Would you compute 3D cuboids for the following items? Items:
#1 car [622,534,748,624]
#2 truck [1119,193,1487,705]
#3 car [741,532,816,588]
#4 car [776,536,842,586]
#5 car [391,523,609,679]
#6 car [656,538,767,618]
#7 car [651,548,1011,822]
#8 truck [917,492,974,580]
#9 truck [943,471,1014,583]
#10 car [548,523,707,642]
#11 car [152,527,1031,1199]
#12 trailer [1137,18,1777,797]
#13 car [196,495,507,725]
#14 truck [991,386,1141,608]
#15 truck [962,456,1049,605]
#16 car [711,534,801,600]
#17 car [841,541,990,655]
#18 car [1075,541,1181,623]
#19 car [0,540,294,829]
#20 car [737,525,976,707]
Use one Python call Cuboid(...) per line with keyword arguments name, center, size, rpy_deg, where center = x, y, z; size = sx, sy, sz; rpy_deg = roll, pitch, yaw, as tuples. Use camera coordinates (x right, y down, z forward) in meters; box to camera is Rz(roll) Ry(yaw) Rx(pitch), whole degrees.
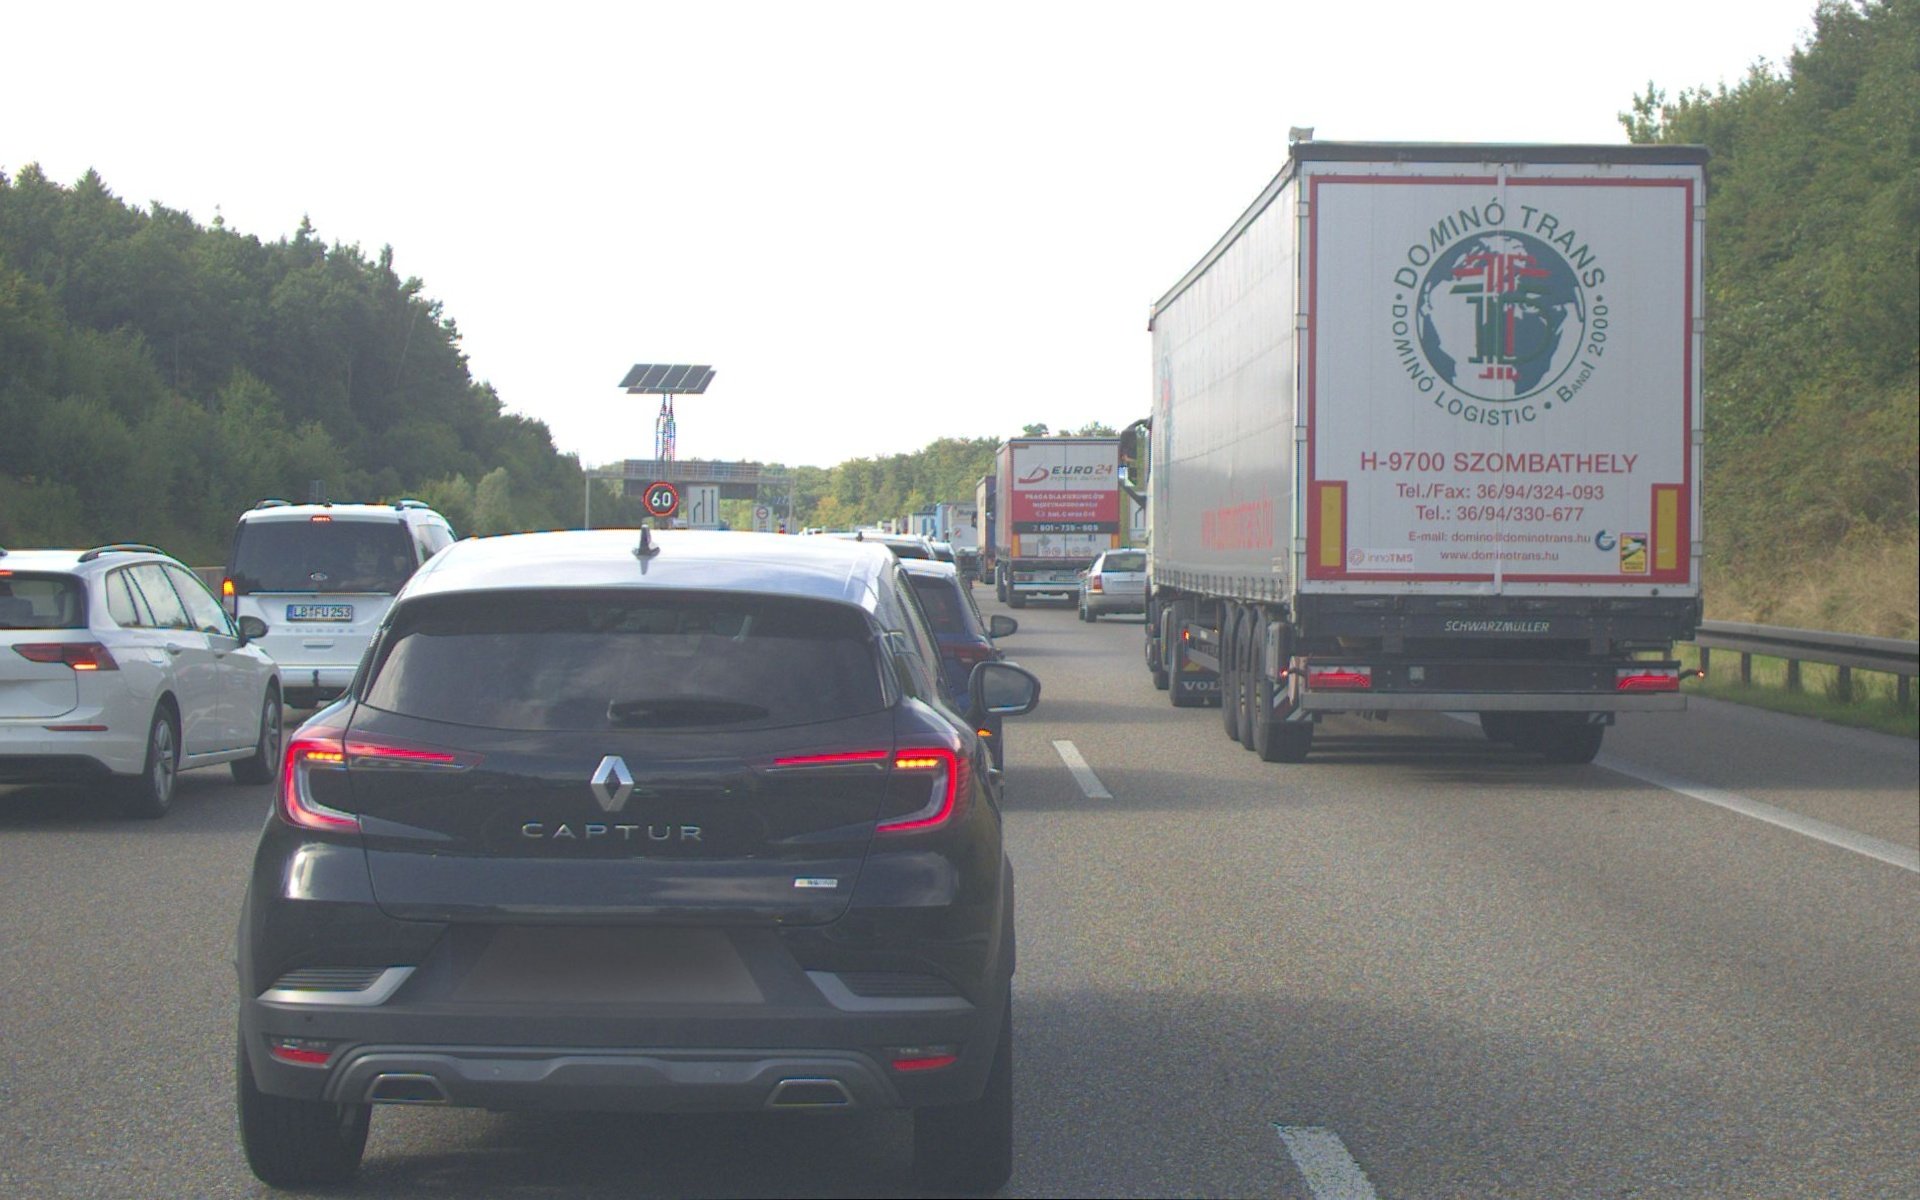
Cuboid(name="car", center=(-5.132, -0.397, 64.626), size=(1.993, 1.607, 4.000), rpy_deg=(1, 1, 0))
Cuboid(name="truck", center=(3.267, -1.434, 34.375), size=(2.997, 4.651, 5.940), rpy_deg=(0, 1, 0))
Cuboid(name="car", center=(-5.380, -1.203, 102.297), size=(1.993, 1.607, 4.000), rpy_deg=(1, 1, 0))
Cuboid(name="car", center=(-5.022, -1.316, 114.825), size=(1.993, 1.607, 4.000), rpy_deg=(1, 1, 0))
Cuboid(name="car", center=(-5.109, -0.005, 38.638), size=(1.855, 1.635, 3.925), rpy_deg=(1, 1, 1))
Cuboid(name="car", center=(-5.185, -0.468, 72.138), size=(1.993, 1.607, 4.000), rpy_deg=(1, 1, 0))
Cuboid(name="car", center=(-0.711, 0.457, 21.230), size=(1.993, 1.509, 4.000), rpy_deg=(1, 1, 0))
Cuboid(name="truck", center=(-0.846, -3.821, 208.822), size=(3.166, 5.142, 12.737), rpy_deg=(1, 1, 1))
Cuboid(name="truck", center=(1.002, -3.676, 176.127), size=(3.167, 5.486, 12.736), rpy_deg=(1, 1, 2))
Cuboid(name="car", center=(-5.028, -0.281, 52.423), size=(1.993, 1.716, 4.000), rpy_deg=(1, 1, 0))
Cuboid(name="car", center=(-0.749, 0.593, 9.315), size=(1.805, 1.547, 4.000), rpy_deg=(0, 1, 2))
Cuboid(name="trailer", center=(3.324, -1.277, 27.301), size=(3.002, 4.645, 13.291), rpy_deg=(1, 1, 0))
Cuboid(name="car", center=(-5.073, 0.060, 29.237), size=(1.911, 1.783, 4.418), rpy_deg=(1, 1, -1))
Cuboid(name="truck", center=(2.486, -2.419, 84.872), size=(3.365, 5.027, 12.737), rpy_deg=(1, 1, 1))
Cuboid(name="truck", center=(1.749, -2.644, 133.889), size=(3.166, 5.486, 12.737), rpy_deg=(1, 1, 1))
Cuboid(name="car", center=(-5.121, -0.841, 86.635), size=(1.993, 1.607, 4.000), rpy_deg=(1, 1, 0))
Cuboid(name="car", center=(-0.588, -0.041, 48.277), size=(1.993, 1.509, 4.000), rpy_deg=(1, 1, 0))
Cuboid(name="car", center=(3.279, -0.362, 67.718), size=(1.804, 1.527, 3.926), rpy_deg=(1, 1, -1))
Cuboid(name="car", center=(-5.141, 0.400, 19.524), size=(1.804, 1.456, 4.308), rpy_deg=(0, 1, 1))
Cuboid(name="car", center=(-0.867, 0.116, 31.104), size=(1.993, 1.509, 4.000), rpy_deg=(1, 1, 0))
